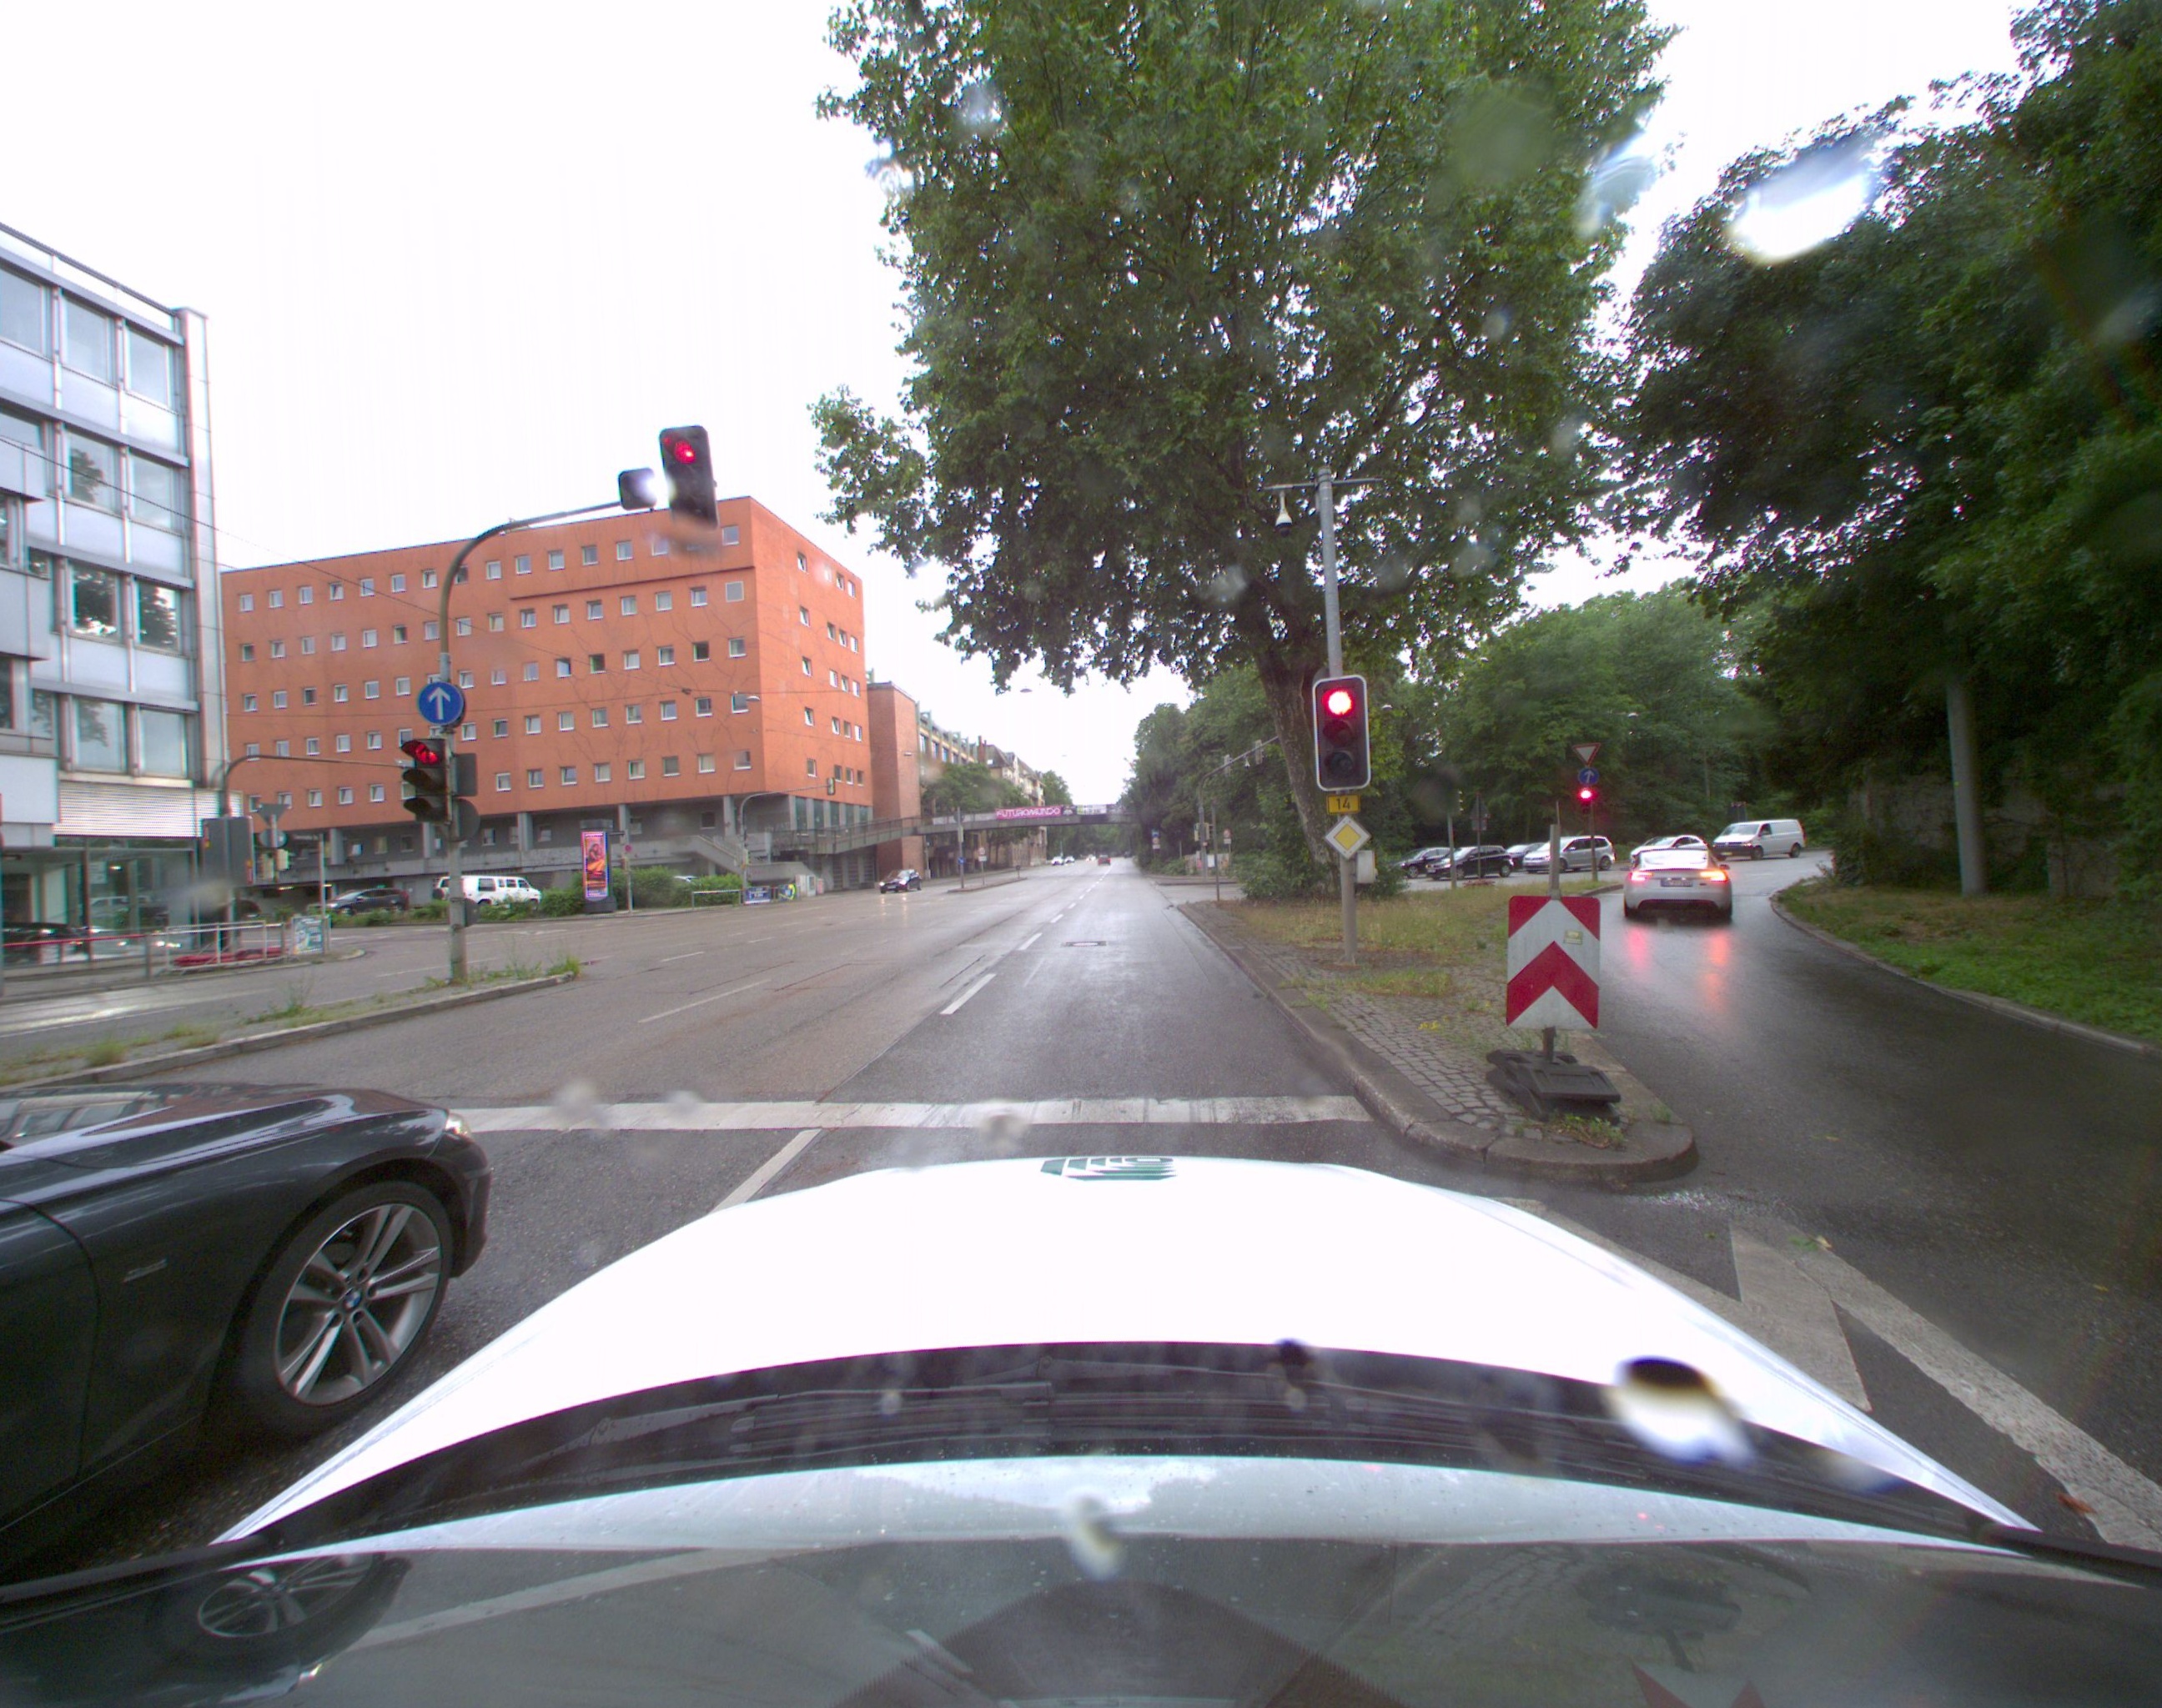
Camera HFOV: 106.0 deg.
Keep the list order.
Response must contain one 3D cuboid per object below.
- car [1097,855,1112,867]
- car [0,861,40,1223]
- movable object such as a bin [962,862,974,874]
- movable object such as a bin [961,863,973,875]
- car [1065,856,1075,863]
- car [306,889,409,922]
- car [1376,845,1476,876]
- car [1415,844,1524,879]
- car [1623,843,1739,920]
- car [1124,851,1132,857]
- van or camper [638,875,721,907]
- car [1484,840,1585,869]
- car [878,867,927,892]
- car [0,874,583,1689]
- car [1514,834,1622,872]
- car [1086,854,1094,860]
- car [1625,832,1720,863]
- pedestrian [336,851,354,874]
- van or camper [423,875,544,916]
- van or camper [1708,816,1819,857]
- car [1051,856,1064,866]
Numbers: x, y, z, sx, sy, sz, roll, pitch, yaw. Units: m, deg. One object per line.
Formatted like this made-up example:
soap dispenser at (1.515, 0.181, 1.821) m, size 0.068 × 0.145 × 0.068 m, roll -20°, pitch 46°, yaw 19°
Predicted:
car at (3.283, 0.994, 116.581) m, size 1.998 × 1.643 × 4.376 m, roll -3°, pitch 0°, yaw 0°
car at (-5.999, 0.849, 1.685) m, size 1.801 × 1.656 × 4.449 m, roll 0°, pitch -1°, yaw 4°
movable object such as a bin at (-15.190, 1.915, 109.113) m, size 1.293 × 1.518 × 1.215 m, roll -3°, pitch 0°, yaw 3°
movable object such as a bin at (-15.117, 1.927, 107.680) m, size 1.277 × 1.518 × 1.274 m, roll -3°, pitch 0°, yaw 3°
car at (-2.327, 1.171, 174.829) m, size 1.701 × 1.464 × 4.047 m, roll -3°, pitch -1°, yaw 5°
car at (-40.247, 2.818, 45.414) m, size 1.699 × 1.612 × 4.097 m, roll -1°, pitch -1°, yaw 9°
car at (16.837, 0.313, 39.811) m, size 4.205 × 1.440 × 1.941 m, roll 0°, pitch -1°, yaw -14°
car at (17.161, 0.318, 36.038) m, size 4.192 × 1.460 × 1.784 m, roll 0°, pitch -1°, yaw -14°
car at (13.336, 0.508, 18.192) m, size 1.834 × 1.448 × 4.648 m, roll 2°, pitch 2°, yaw 36°
car at (10.725, 0.037, 186.764) m, size 1.835 × 1.453 × 3.778 m, roll 0°, pitch -1°, yaw 2°
van or camper at (-24.014, 2.196, 48.752) m, size 3.965 × 1.627 × 1.918 m, roll -3°, pitch 0°, yaw 8°
car at (22.945, 0.035, 41.229) m, size 4.438 × 1.402 × 1.821 m, roll 0°, pitch -1°, yaw -14°
car at (-11.202, 1.589, 51.320) m, size 1.677 × 1.419 × 4.221 m, roll -4°, pitch -1°, yaw 6°
car at (-2.921, 0.839, 0.896) m, size 1.769 × 1.458 × 4.480 m, roll -3°, pitch -1°, yaw 3°
car at (22.619, -0.047, 37.837) m, size 4.203 × 1.680 × 1.898 m, roll 0°, pitch -1°, yaw -14°
car at (2.259, 0.716, 196.729) m, size 1.676 × 1.436 × 3.865 m, roll -3°, pitch -1°, yaw 3°
car at (28.844, -0.299, 39.727) m, size 3.857 × 1.461 × 1.650 m, roll 0°, pitch -1°, yaw -14°
pedestrian at (-58.323, 0.673, 64.515) m, size 0.757 × 1.839 × 0.727 m, roll -1°, pitch -1°, yaw 11°
van or camper at (-32.826, 2.222, 44.995) m, size 2.113 × 1.977 × 5.466 m, roll 0°, pitch -1°, yaw 9°
van or camper at (34.899, -0.882, 41.652) m, size 4.858 × 1.947 × 1.897 m, roll -1°, pitch -1°, yaw -16°
car at (-4.245, 1.284, 148.683) m, size 1.881 × 1.610 × 4.461 m, roll -3°, pitch -1°, yaw 4°
